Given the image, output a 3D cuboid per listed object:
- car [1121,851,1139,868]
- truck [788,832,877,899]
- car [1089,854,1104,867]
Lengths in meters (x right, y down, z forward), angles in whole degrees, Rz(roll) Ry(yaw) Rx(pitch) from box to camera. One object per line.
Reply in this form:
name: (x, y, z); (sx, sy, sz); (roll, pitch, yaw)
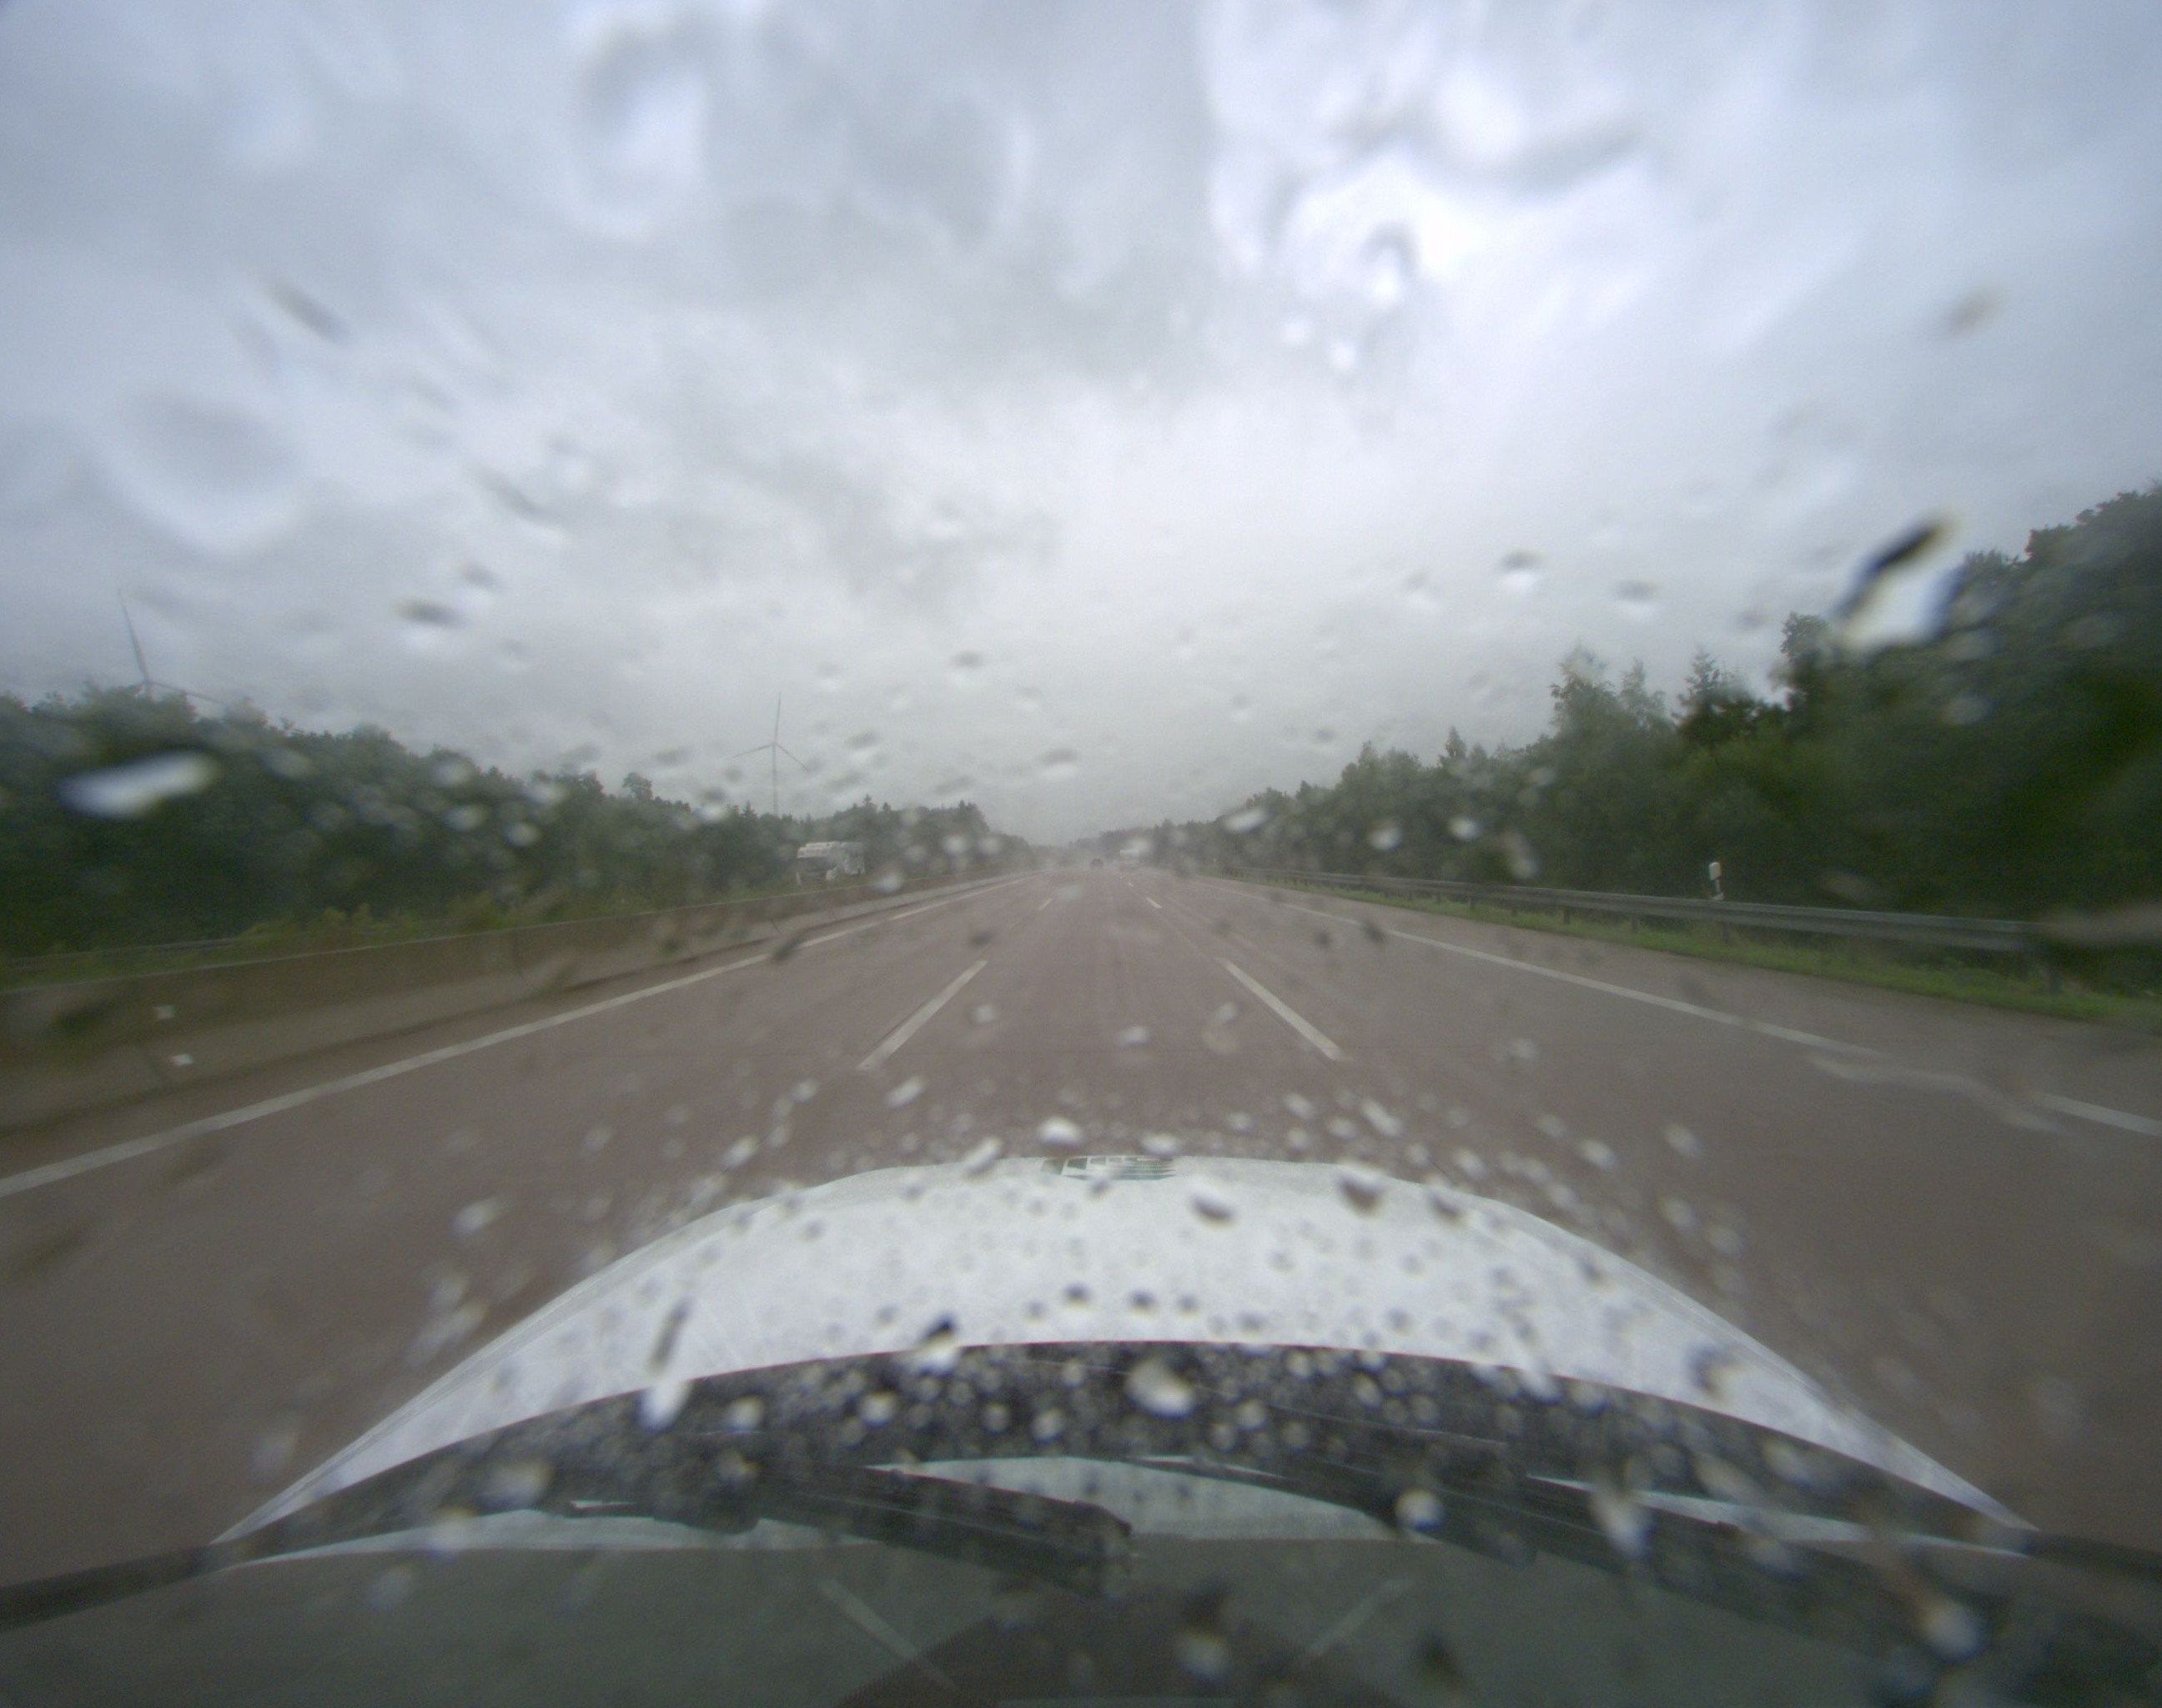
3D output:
car: (5.990, 0.655, 99.085); (2.050, 2.000, 4.100); (-1, 0, 2)
truck: (-17.662, 0.755, 58.805); (3.133, 4.472, 9.562); (0, 0, 2)
car: (2.188, 0.877, 113.994); (1.929, 1.729, 4.132); (-1, 0, 2)
